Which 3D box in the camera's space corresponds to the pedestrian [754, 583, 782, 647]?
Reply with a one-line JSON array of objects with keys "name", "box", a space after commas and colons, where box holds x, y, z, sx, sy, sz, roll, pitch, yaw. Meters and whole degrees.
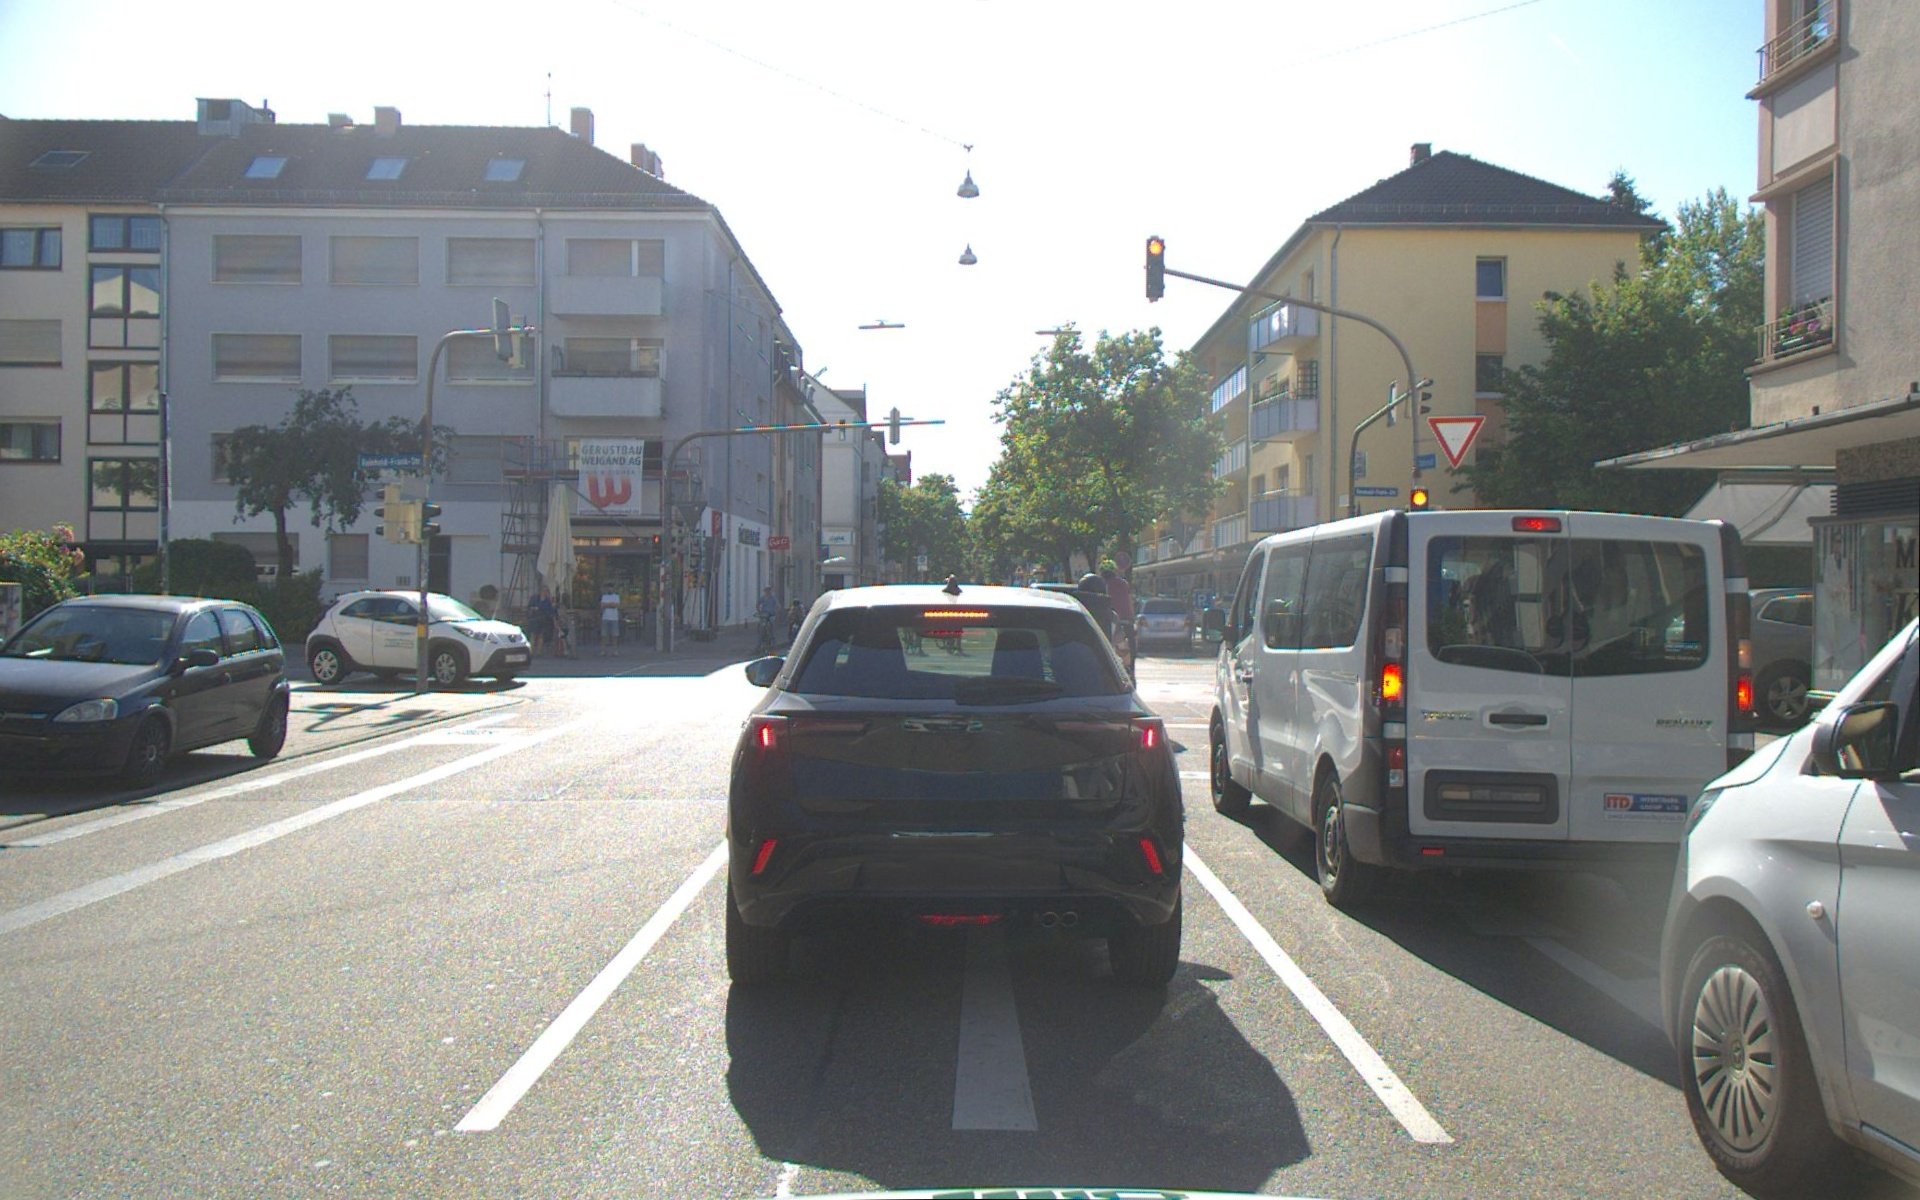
[{"name": "pedestrian", "box": [-5.222, 0.399, 45.016, 0.692, 1.707, 0.802, 0, 0, -2]}]

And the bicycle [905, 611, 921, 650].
[{"name": "bicycle", "box": [-1.282, 0.818, 44.964, 0.434, 1.010, 2.068, 0, 0, -2]}]

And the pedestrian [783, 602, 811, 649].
[{"name": "pedestrian", "box": [-4.437, 0.692, 44.963, 0.692, 1.275, 0.802, 0, 0, -2]}]

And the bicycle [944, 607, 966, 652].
[{"name": "bicycle", "box": [-0.143, 0.793, 45.084, 0.511, 1.167, 2.169, 0, 0, -2]}]

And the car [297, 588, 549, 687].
[{"name": "car", "box": [-9.032, 0.594, 27.884, 3.694, 1.563, 1.772, 0, 0, 17]}]

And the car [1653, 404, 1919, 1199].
[{"name": "car", "box": [3.019, 0.532, 2.482, 1.799, 1.901, 4.995, 0, 0, -1]}]

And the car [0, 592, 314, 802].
[{"name": "car", "box": [-6.947, 0.697, 13.846, 1.583, 1.450, 3.710, 3, 0, -1]}]

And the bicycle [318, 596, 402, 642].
[{"name": "bicycle", "box": [-15.933, 0.504, 43.921, 2.067, 1.193, 0.735, 0, 0, -24]}]

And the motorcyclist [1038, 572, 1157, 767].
[{"name": "motorcyclist", "box": [1.109, 0.542, 13.566, 0.846, 1.528, 1.159, 0, 0, -1]}]

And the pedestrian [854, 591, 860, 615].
[{"name": "pedestrian", "box": [-7.139, 0.213, 114.829, 0.393, 1.704, 0.418, 0, 0, 0]}]

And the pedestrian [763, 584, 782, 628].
[{"name": "pedestrian", "box": [-6.617, 0.212, 58.413, 0.605, 1.547, 0.724, 0, 0, -3]}]

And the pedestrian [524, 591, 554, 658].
[{"name": "pedestrian", "box": [-9.877, 0.567, 38.796, 0.573, 1.547, 0.649, 0, 0, -3]}]

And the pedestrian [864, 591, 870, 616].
[{"name": "pedestrian", "box": [-6.419, 0.224, 114.552, 0.393, 1.704, 0.418, 0, 0, 0]}]

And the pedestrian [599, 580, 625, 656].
[{"name": "pedestrian", "box": [-8.306, 0.425, 39.500, 0.550, 1.806, 0.583, 1, 0, -9]}]

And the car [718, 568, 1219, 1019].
[{"name": "car", "box": [-0.029, 0.660, 7.746, 1.735, 1.557, 3.998, 0, 0, -2]}]

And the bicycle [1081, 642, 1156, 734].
[{"name": "bicycle", "box": [1.792, 0.978, 18.970, 0.565, 0.920, 2.300, 0, 0, -2]}]

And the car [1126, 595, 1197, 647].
[{"name": "car", "box": [5.875, 0.590, 48.499, 1.601, 1.458, 3.956, 0, 0, 0]}]

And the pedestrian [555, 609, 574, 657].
[{"name": "pedestrian", "box": [-9.302, 0.769, 38.885, 0.348, 1.111, 0.461, 0, 0, -3]}]

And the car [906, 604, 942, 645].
[{"name": "car", "box": [-1.845, 1.232, 85.530, 1.811, 2.049, 4.000, 0, 0, -1]}]

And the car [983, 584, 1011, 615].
[{"name": "car", "box": [2.522, -0.038, 113.561, 1.817, 2.049, 3.880, 0, 0, 0]}]

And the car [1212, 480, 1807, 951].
[{"name": "car", "box": [2.811, 0.497, 9.795, 1.952, 2.013, 4.896, 2, 0, 2]}]

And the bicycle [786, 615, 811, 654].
[{"name": "bicycle", "box": [-4.413, 0.929, 45.235, 0.511, 1.010, 2.338, 0, 0, -2]}]

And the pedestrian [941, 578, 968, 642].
[{"name": "pedestrian", "box": [-0.146, 0.262, 45.076, 0.692, 1.730, 0.802, 0, 0, -2]}]

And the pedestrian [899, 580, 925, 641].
[{"name": "pedestrian", "box": [-1.304, 0.273, 44.851, 0.666, 1.634, 0.762, 0, 0, -2]}]

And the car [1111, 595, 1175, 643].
[{"name": "car", "box": [5.865, 0.591, 53.349, 1.601, 1.458, 4.000, 0, 0, 0]}]

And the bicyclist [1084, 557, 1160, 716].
[{"name": "bicyclist", "box": [1.824, 0.402, 18.833, 0.675, 1.742, 1.413, 0, 0, -2]}]

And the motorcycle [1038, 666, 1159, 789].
[{"name": "motorcycle", "box": [1.104, 1.011, 13.586, 0.808, 0.860, 1.884, 0, 0, -1]}]

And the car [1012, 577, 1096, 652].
[{"name": "car", "box": [2.278, 0.328, 41.067, 1.863, 1.758, 4.073, 0, 0, 0]}]

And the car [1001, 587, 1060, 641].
[{"name": "car", "box": [2.352, 0.436, 55.986, 1.863, 1.758, 4.000, 0, 0, 1]}]

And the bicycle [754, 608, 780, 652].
[{"name": "bicycle", "box": [-5.262, 0.810, 45.209, 0.511, 1.167, 2.283, 0, 0, -2]}]
